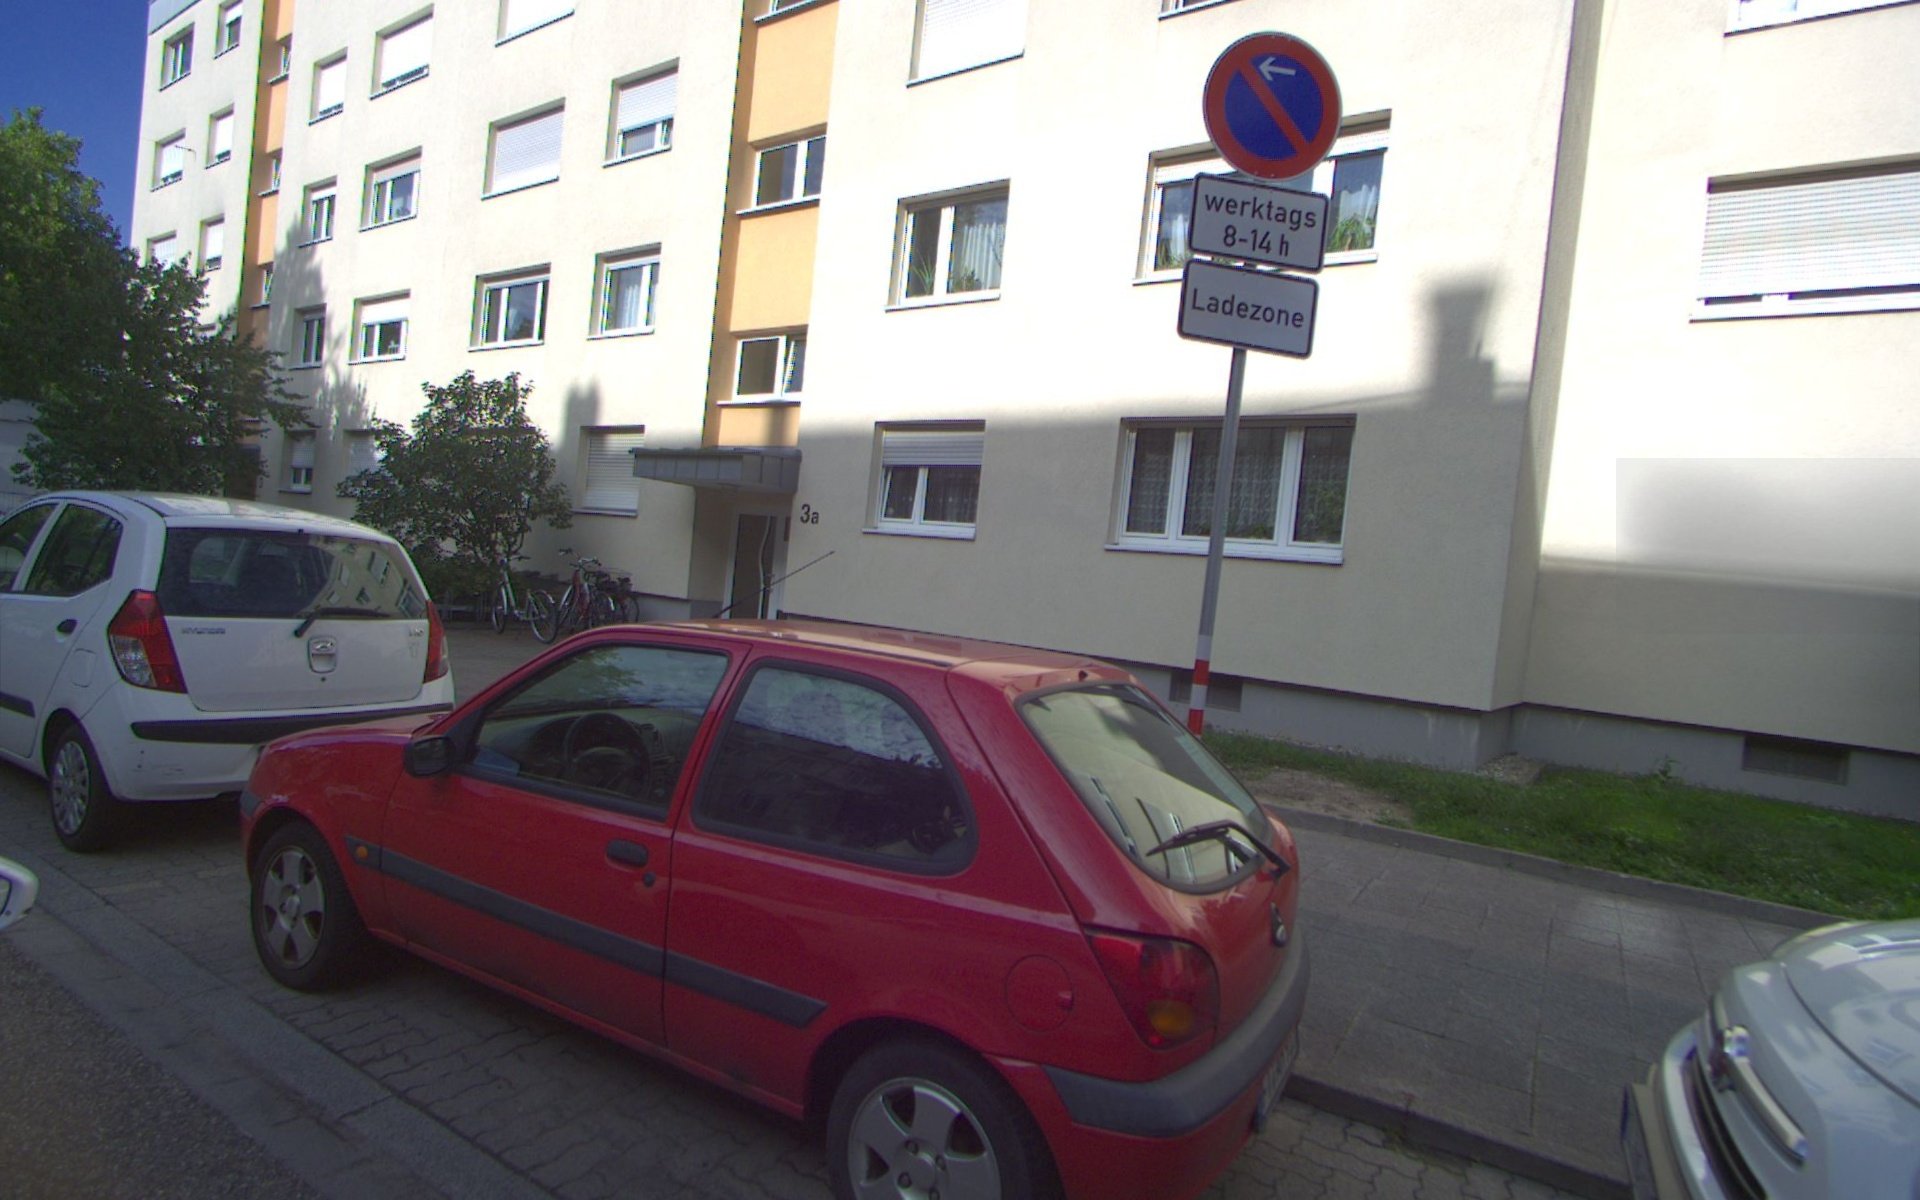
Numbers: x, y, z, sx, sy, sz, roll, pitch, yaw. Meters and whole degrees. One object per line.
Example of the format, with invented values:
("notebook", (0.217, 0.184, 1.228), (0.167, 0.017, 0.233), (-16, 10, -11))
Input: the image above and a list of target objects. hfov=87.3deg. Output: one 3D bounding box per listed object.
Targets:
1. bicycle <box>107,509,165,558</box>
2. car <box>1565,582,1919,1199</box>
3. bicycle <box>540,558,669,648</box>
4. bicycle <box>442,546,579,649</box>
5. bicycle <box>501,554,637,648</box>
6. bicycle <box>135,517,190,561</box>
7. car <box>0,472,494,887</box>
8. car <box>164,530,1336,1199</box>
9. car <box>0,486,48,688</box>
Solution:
("bicycle", (-20.447, -1.650, 24.956), (1.526, 1.069, 0.522), (7, 1, 29))
("car", (3.013, 0.994, 0.898), (4.047, 1.601, 1.729), (6, 2, 30))
("bicycle", (-5.372, 0.027, 15.120), (2.172, 1.130, 0.529), (7, 3, 32))
("bicycle", (-6.277, -0.063, 13.987), (2.172, 1.204, 0.596), (7, 5, 32))
("bicycle", (-5.700, 0.000, 14.594), (2.172, 1.130, 0.597), (7, 3, 32))
("bicycle", (-20.172, -1.547, 25.433), (1.526, 0.976, 0.478), (7, 1, 29))
("car", (-4.314, 0.190, 5.445), (3.410, 1.578, 1.551), (7, 3, 31))
("car", (-0.818, 0.655, 3.355), (3.612, 1.416, 1.516), (6, 2, 28))
("car", (-9.392, -0.331, 8.366), (4.170, 1.548, 1.690), (7, 1, 34))
